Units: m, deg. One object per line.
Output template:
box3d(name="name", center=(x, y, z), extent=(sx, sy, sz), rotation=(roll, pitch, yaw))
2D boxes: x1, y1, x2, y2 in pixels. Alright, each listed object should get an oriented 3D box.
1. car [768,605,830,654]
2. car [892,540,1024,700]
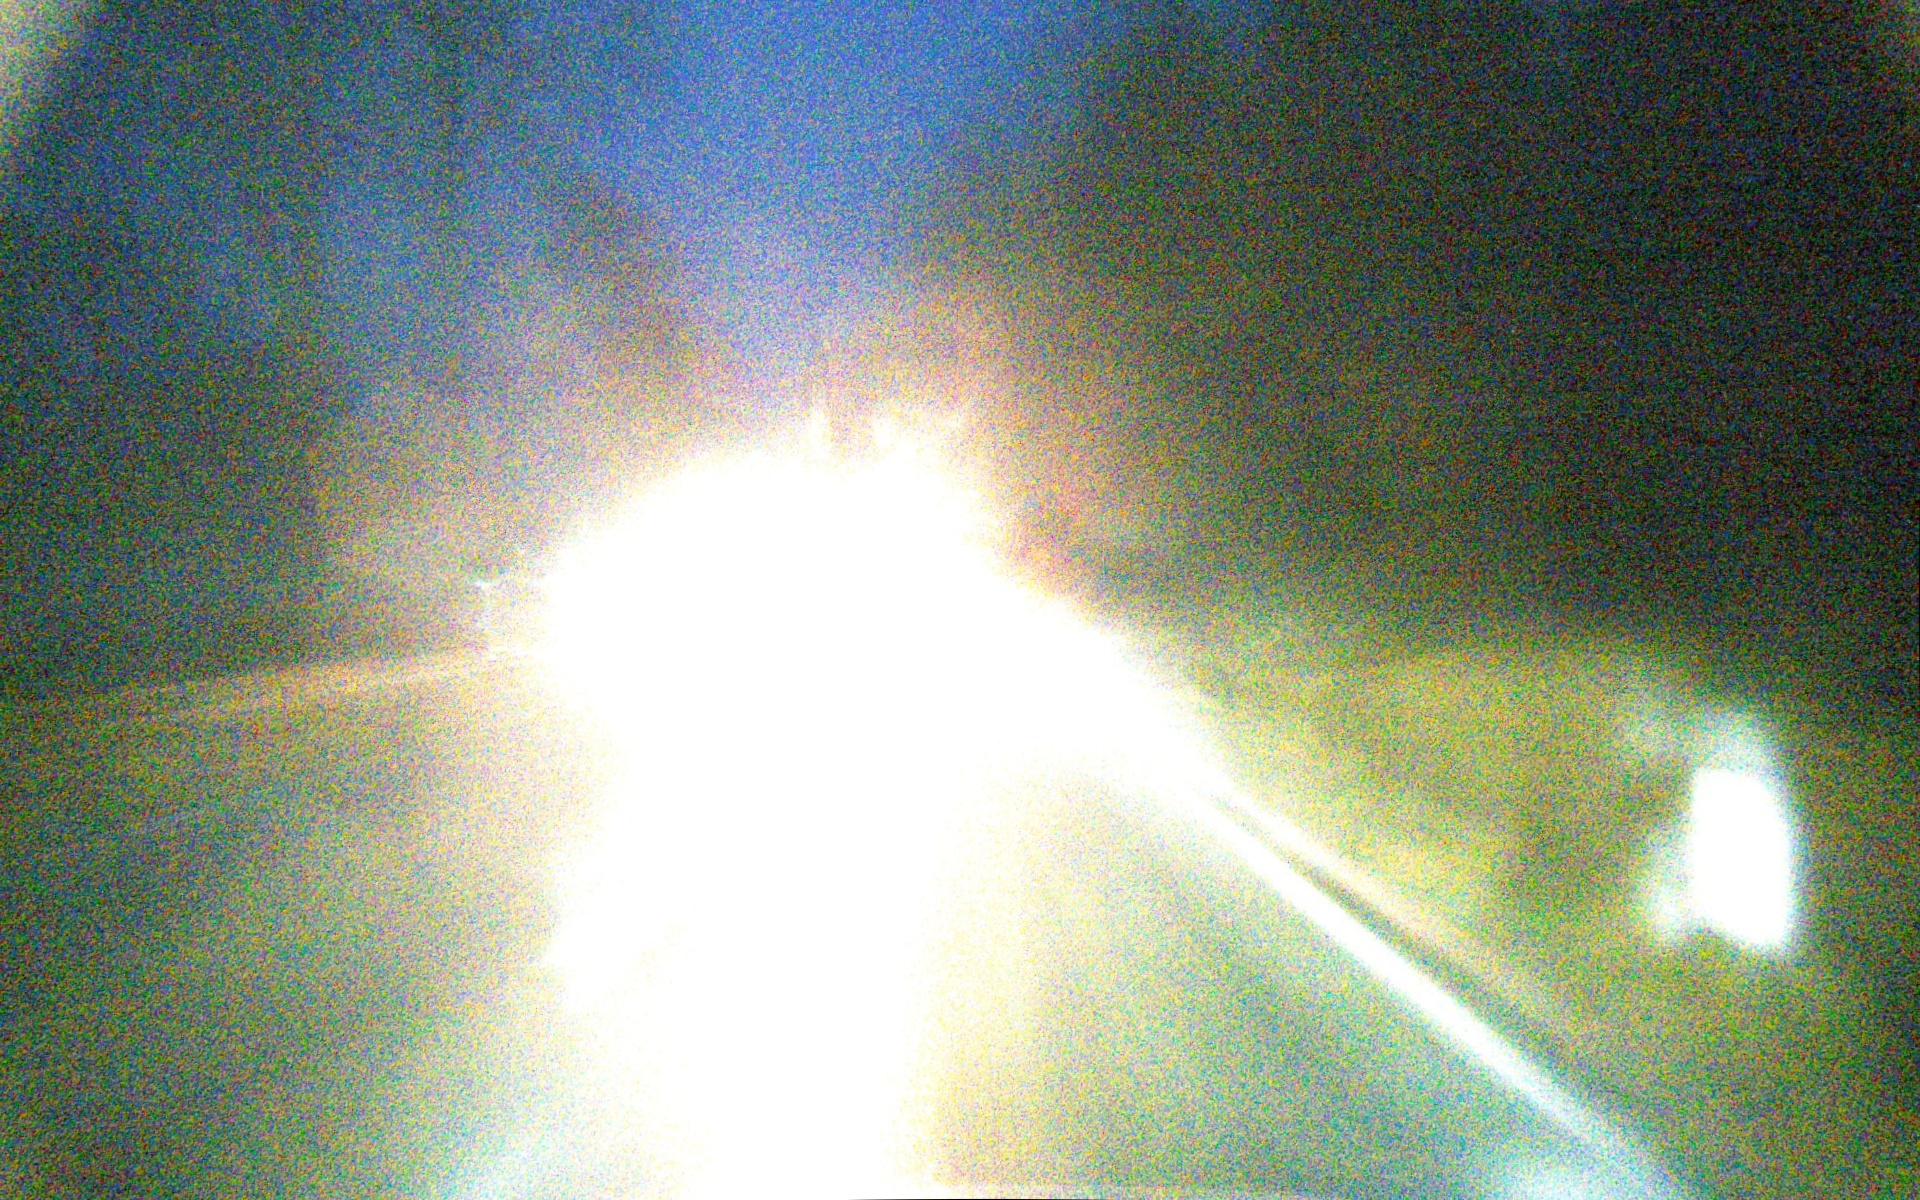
box3d(name="car", center=(-5.299, 0.952, 54.782), extent=(1.814, 1.515, 3.991), rotation=(0, 0, -3))
box3d(name="car", center=(-0.067, 0.338, 29.775), extent=(2.137, 2.602, 4.507), rotation=(2, 0, -1))
